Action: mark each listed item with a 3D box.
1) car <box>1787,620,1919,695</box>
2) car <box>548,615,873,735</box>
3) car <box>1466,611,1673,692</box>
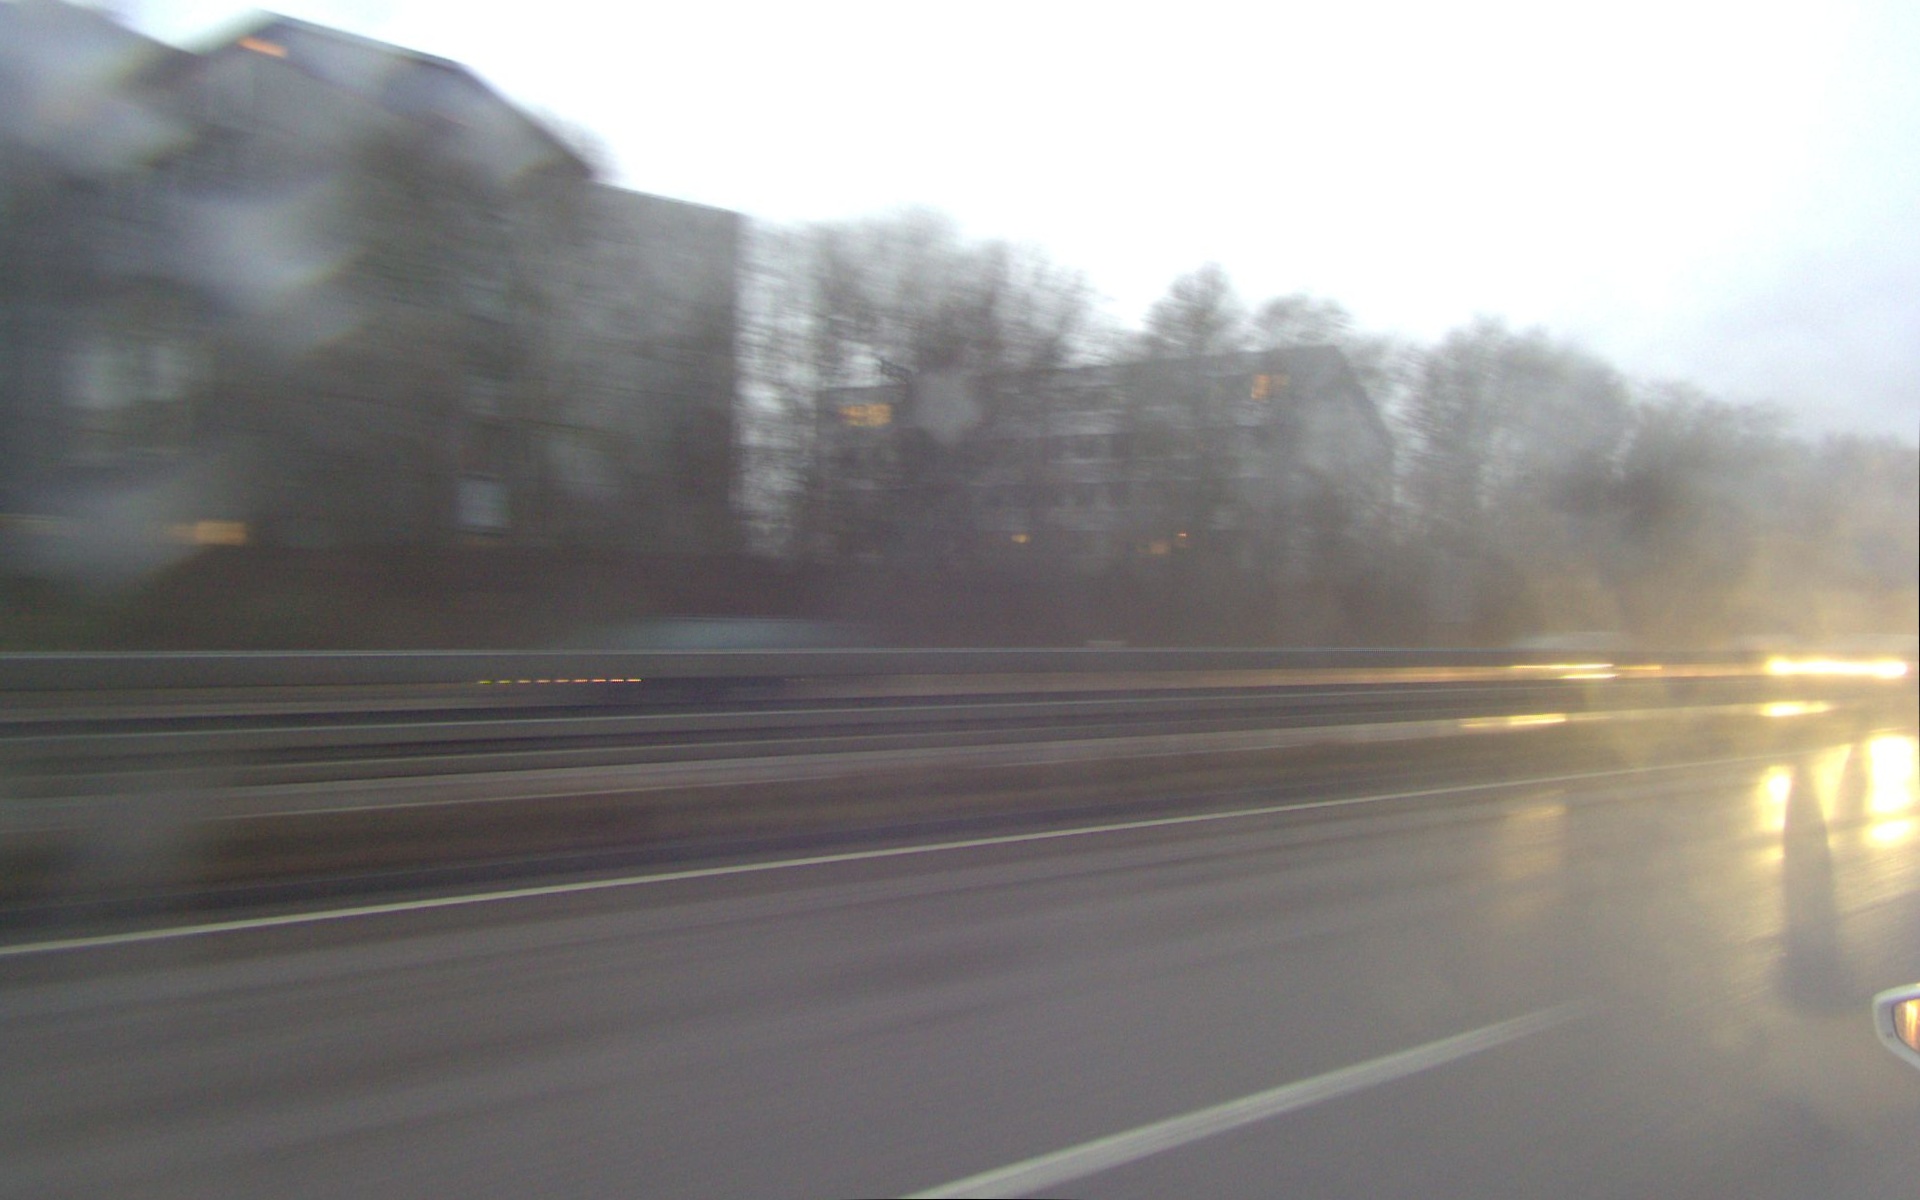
[{"bbox_3d":[22.756,1.347,24.608,5.309,1.547,1.984,1,2,-29],"label":"car"},{"bbox_3d":[-3.526,0.985,14.288,4.155,1.378,1.888,1,2,-28],"label":"car"},{"bbox_3d":[15.202,1.251,25.035,4.832,1.777,1.987,1,2,-25],"label":"car"}]
